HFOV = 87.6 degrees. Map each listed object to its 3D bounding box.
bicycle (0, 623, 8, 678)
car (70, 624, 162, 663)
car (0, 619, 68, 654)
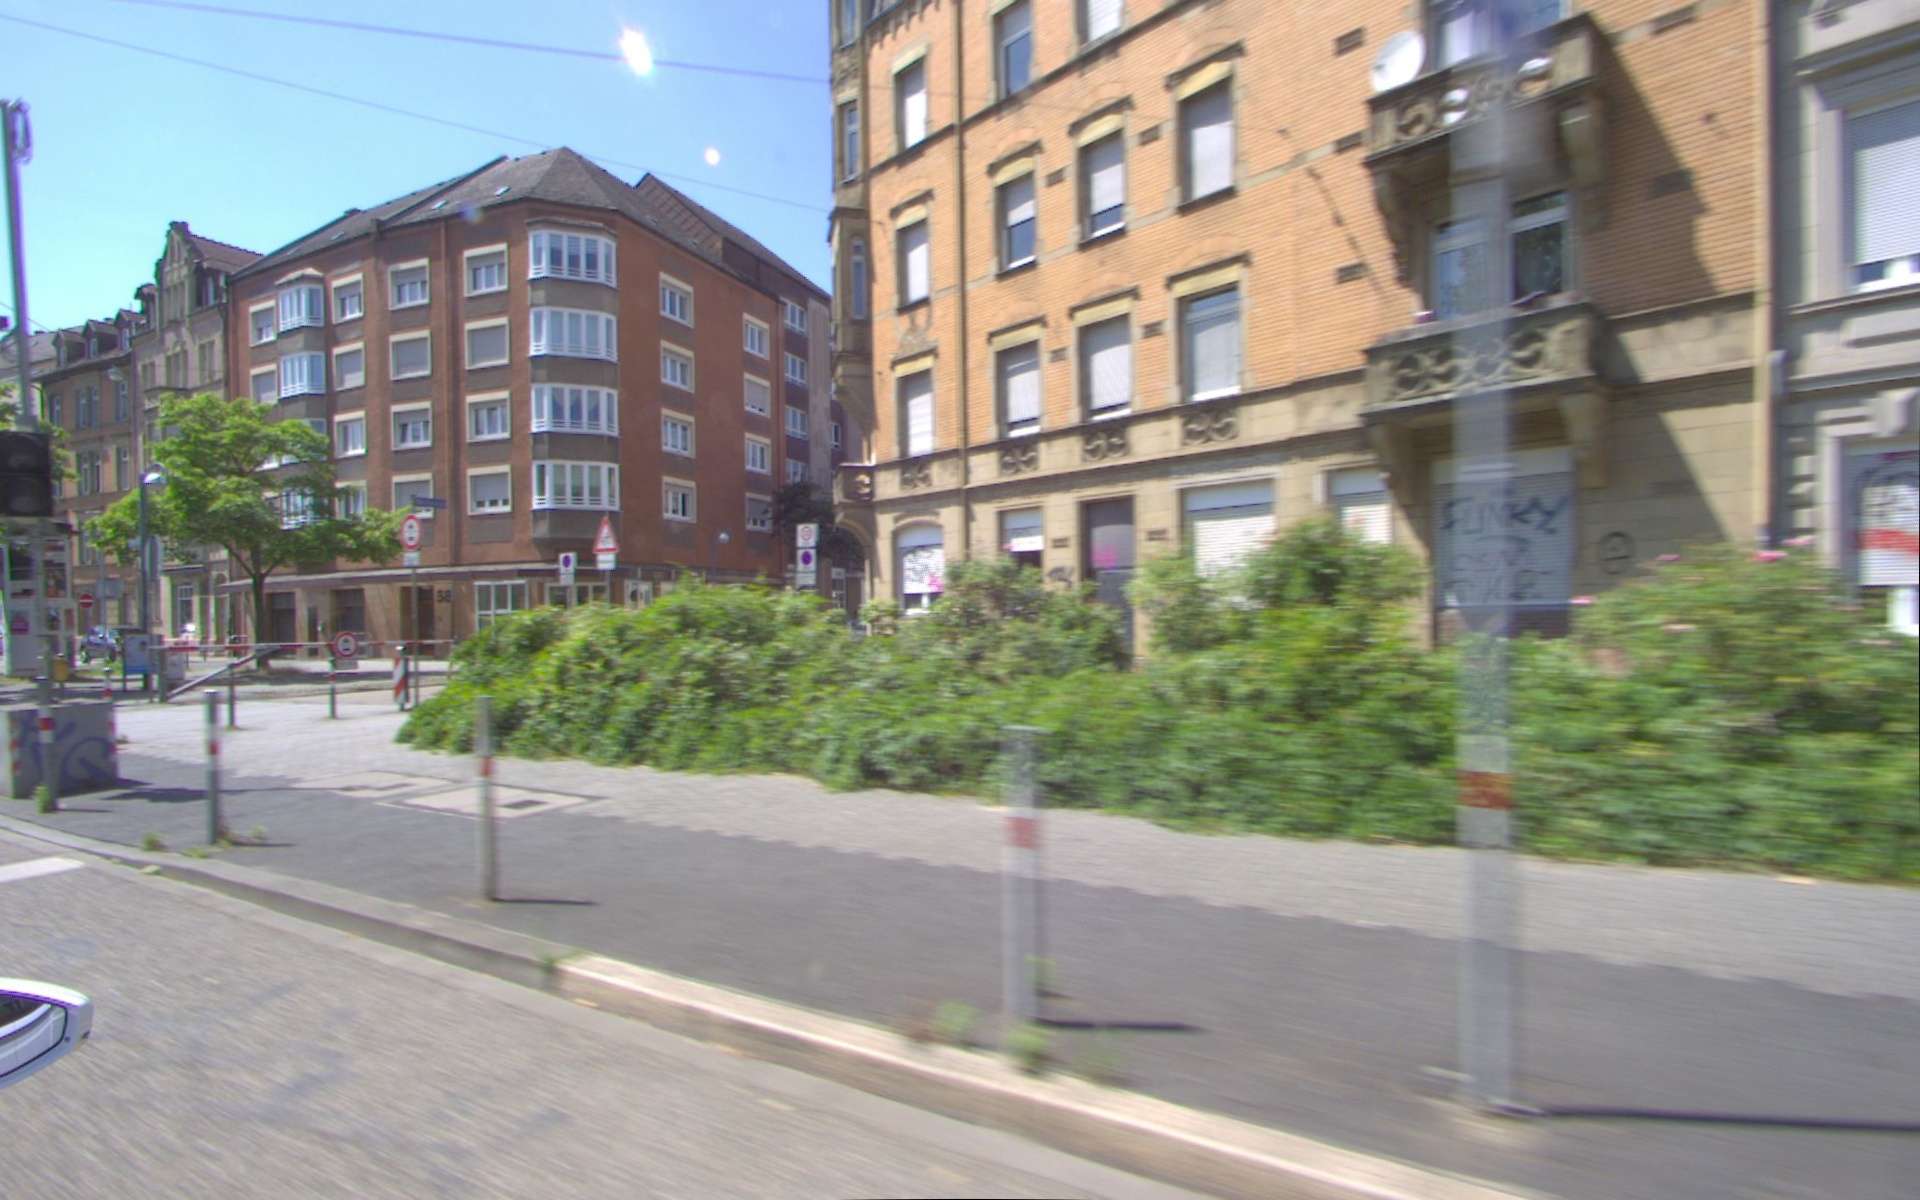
[{"bbox_3d":[-23.616,1.224,24.214,1.525,1.306,0.513,-1,-2,32],"label":"bicycle"},{"bbox_3d":[-37.219,1.902,44.119,4.537,1.620,1.989,-1,-2,35],"label":"car"},{"bbox_3d":[-46.326,1.804,49.646,3.936,1.705,1.819,-1,-2,26],"label":"car"}]
